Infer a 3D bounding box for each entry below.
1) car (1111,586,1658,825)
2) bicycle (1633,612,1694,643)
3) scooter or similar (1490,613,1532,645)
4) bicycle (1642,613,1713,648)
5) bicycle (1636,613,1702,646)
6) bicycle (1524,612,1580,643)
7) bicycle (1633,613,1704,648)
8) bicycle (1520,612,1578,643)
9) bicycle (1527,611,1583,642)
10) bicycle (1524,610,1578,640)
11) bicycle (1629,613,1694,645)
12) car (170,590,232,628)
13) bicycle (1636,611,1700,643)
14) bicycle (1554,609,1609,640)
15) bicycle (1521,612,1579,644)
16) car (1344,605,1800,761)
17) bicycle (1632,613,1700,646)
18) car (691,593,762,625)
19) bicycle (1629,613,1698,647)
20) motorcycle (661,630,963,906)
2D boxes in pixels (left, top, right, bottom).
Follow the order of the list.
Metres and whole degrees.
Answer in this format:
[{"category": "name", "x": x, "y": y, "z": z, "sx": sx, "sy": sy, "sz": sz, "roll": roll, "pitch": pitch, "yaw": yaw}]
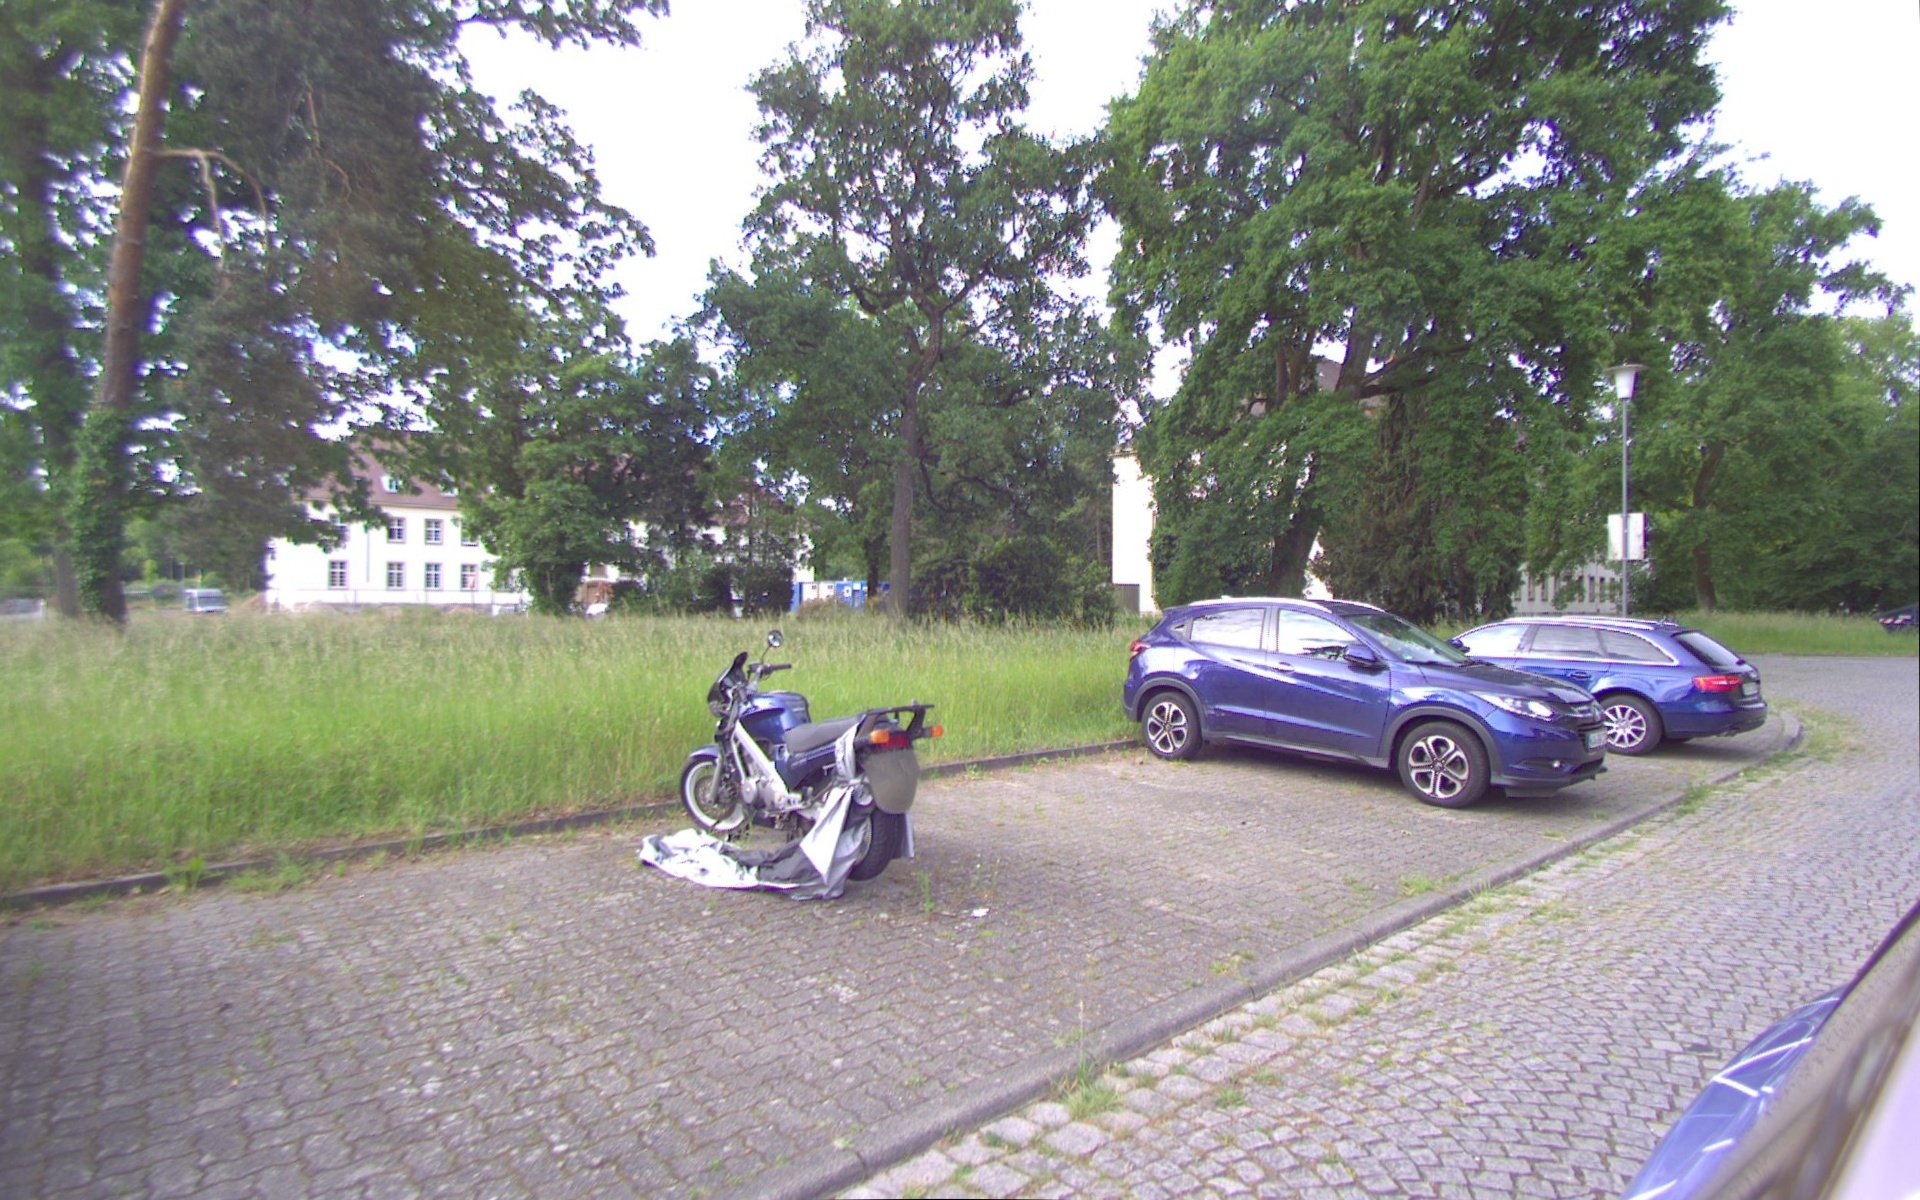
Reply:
[{"category": "car", "x": 3.636, "y": 0.720, "z": 9.276, "sx": 1.854, "sy": 1.643, "sz": 4.250, "roll": 1, "pitch": 0, "yaw": -42}, {"category": "bicycle", "x": 27.670, "y": 1.096, "z": 39.836, "sx": 1.925, "sy": 1.185, "sz": 0.531, "roll": -2, "pitch": -2, "yaw": 33}, {"category": "scooter or similar", "x": 20.932, "y": 1.090, "z": 38.459, "sx": 0.406, "sy": 1.185, "sz": 1.306, "roll": 0, "pitch": -2, "yaw": -42}, {"category": "bicycle", "x": 25.034, "y": 1.061, "z": 35.335, "sx": 1.916, "sy": 1.185, "sz": 0.484, "roll": -2, "pitch": -2, "yaw": 22}, {"category": "bicycle", "x": 26.217, "y": 1.079, "z": 37.445, "sx": 1.921, "sy": 1.185, "sz": 0.483, "roll": -2, "pitch": -2, "yaw": 28}, {"category": "bicycle", "x": 22.939, "y": 1.043, "z": 39.228, "sx": 1.842, "sy": 1.185, "sz": 0.483, "roll": -1, "pitch": -1, "yaw": 28}, {"category": "bicycle", "x": 24.464, "y": 1.066, "z": 34.977, "sx": 1.916, "sy": 1.185, "sz": 0.484, "roll": -2, "pitch": -2, "yaw": 22}, {"category": "bicycle", "x": 22.499, "y": 1.041, "z": 38.666, "sx": 1.839, "sy": 1.185, "sz": 0.484, "roll": -1, "pitch": -1, "yaw": 24}, {"category": "bicycle", "x": 23.407, "y": 1.046, "z": 39.839, "sx": 1.836, "sy": 1.185, "sz": 0.485, "roll": -1, "pitch": -1, "yaw": 21}, {"category": "bicycle", "x": 24.046, "y": 1.020, "z": 41.197, "sx": 1.836, "sy": 1.185, "sz": 0.485, "roll": -1, "pitch": -1, "yaw": 21}, {"category": "bicycle", "x": 26.553, "y": 1.089, "z": 38.344, "sx": 1.921, "sy": 1.185, "sz": 0.483, "roll": -2, "pitch": -2, "yaw": 28}, {"category": "car", "x": -57.024, "y": 0.718, "z": 76.011, "sx": 5.647, "sy": 2.675, "sz": 2.247, "roll": -2, "pitch": -2, "yaw": 37}, {"category": "bicycle", "x": 27.047, "y": 1.041, "z": 38.693, "sx": 1.921, "sy": 1.185, "sz": 0.483, "roll": -2, "pitch": -2, "yaw": 28}, {"category": "bicycle", "x": 25.382, "y": 1.000, "z": 41.344, "sx": 1.851, "sy": 1.185, "sz": 0.481, "roll": 2, "pitch": 0, "yaw": 40}, {"category": "bicycle", "x": 22.213, "y": 1.062, "z": 38.142, "sx": 1.839, "sy": 1.185, "sz": 0.484, "roll": -1, "pitch": -1, "yaw": 24}, {"category": "car", "x": 7.186, "y": 0.836, "z": 12.290, "sx": 1.892, "sy": 1.457, "sz": 4.367, "roll": 1, "pitch": 0, "yaw": -39}, {"category": "bicycle", "x": 25.708, "y": 1.077, "z": 36.862, "sx": 1.918, "sy": 1.185, "sz": 0.484, "roll": -2, "pitch": -2, "yaw": 24}, {"category": "car", "x": -17.378, "y": 0.691, "z": 75.576, "sx": 4.854, "sy": 2.333, "sz": 1.920, "roll": 1, "pitch": -1, "yaw": -41}, {"category": "bicycle", "x": 25.298, "y": 1.076, "z": 36.414, "sx": 1.918, "sy": 1.185, "sz": 0.484, "roll": -2, "pitch": -2, "yaw": 24}, {"category": "motorcycle", "x": -0.948, "y": 0.834, "z": 5.853, "sx": 0.558, "sy": 1.217, "sz": 2.233, "roll": 1, "pitch": 0, "yaw": -43}]
